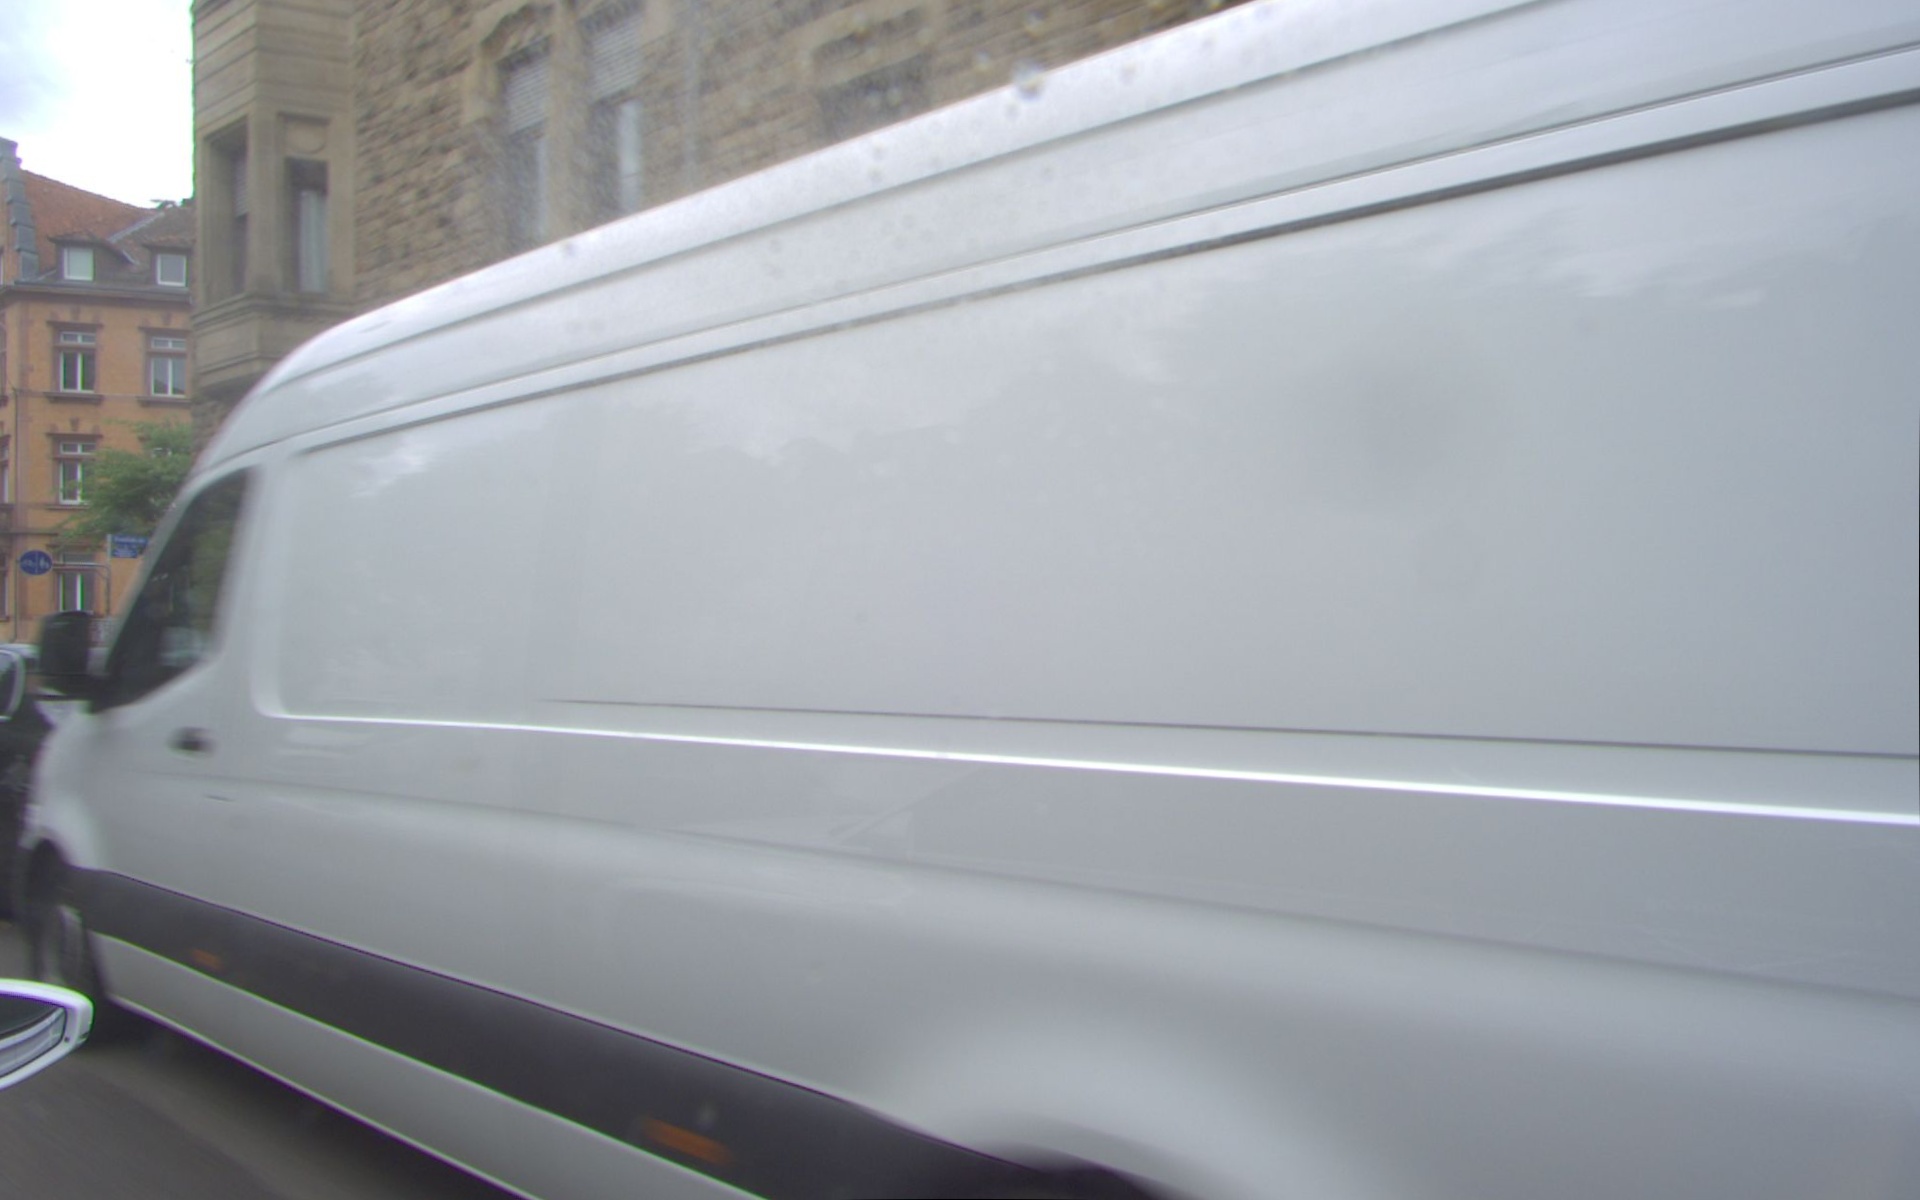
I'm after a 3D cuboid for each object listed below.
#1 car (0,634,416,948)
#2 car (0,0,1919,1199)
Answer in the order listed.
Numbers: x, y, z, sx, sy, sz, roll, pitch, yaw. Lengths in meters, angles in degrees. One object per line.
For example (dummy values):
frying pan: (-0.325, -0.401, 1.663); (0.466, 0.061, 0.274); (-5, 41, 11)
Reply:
car: (-5.972, 0.984, 6.834); (4.936, 1.468, 1.821); (-1, -3, 33)
car: (-0.806, 0.348, 3.192); (6.917, 2.580, 2.010); (-1, -3, 33)
